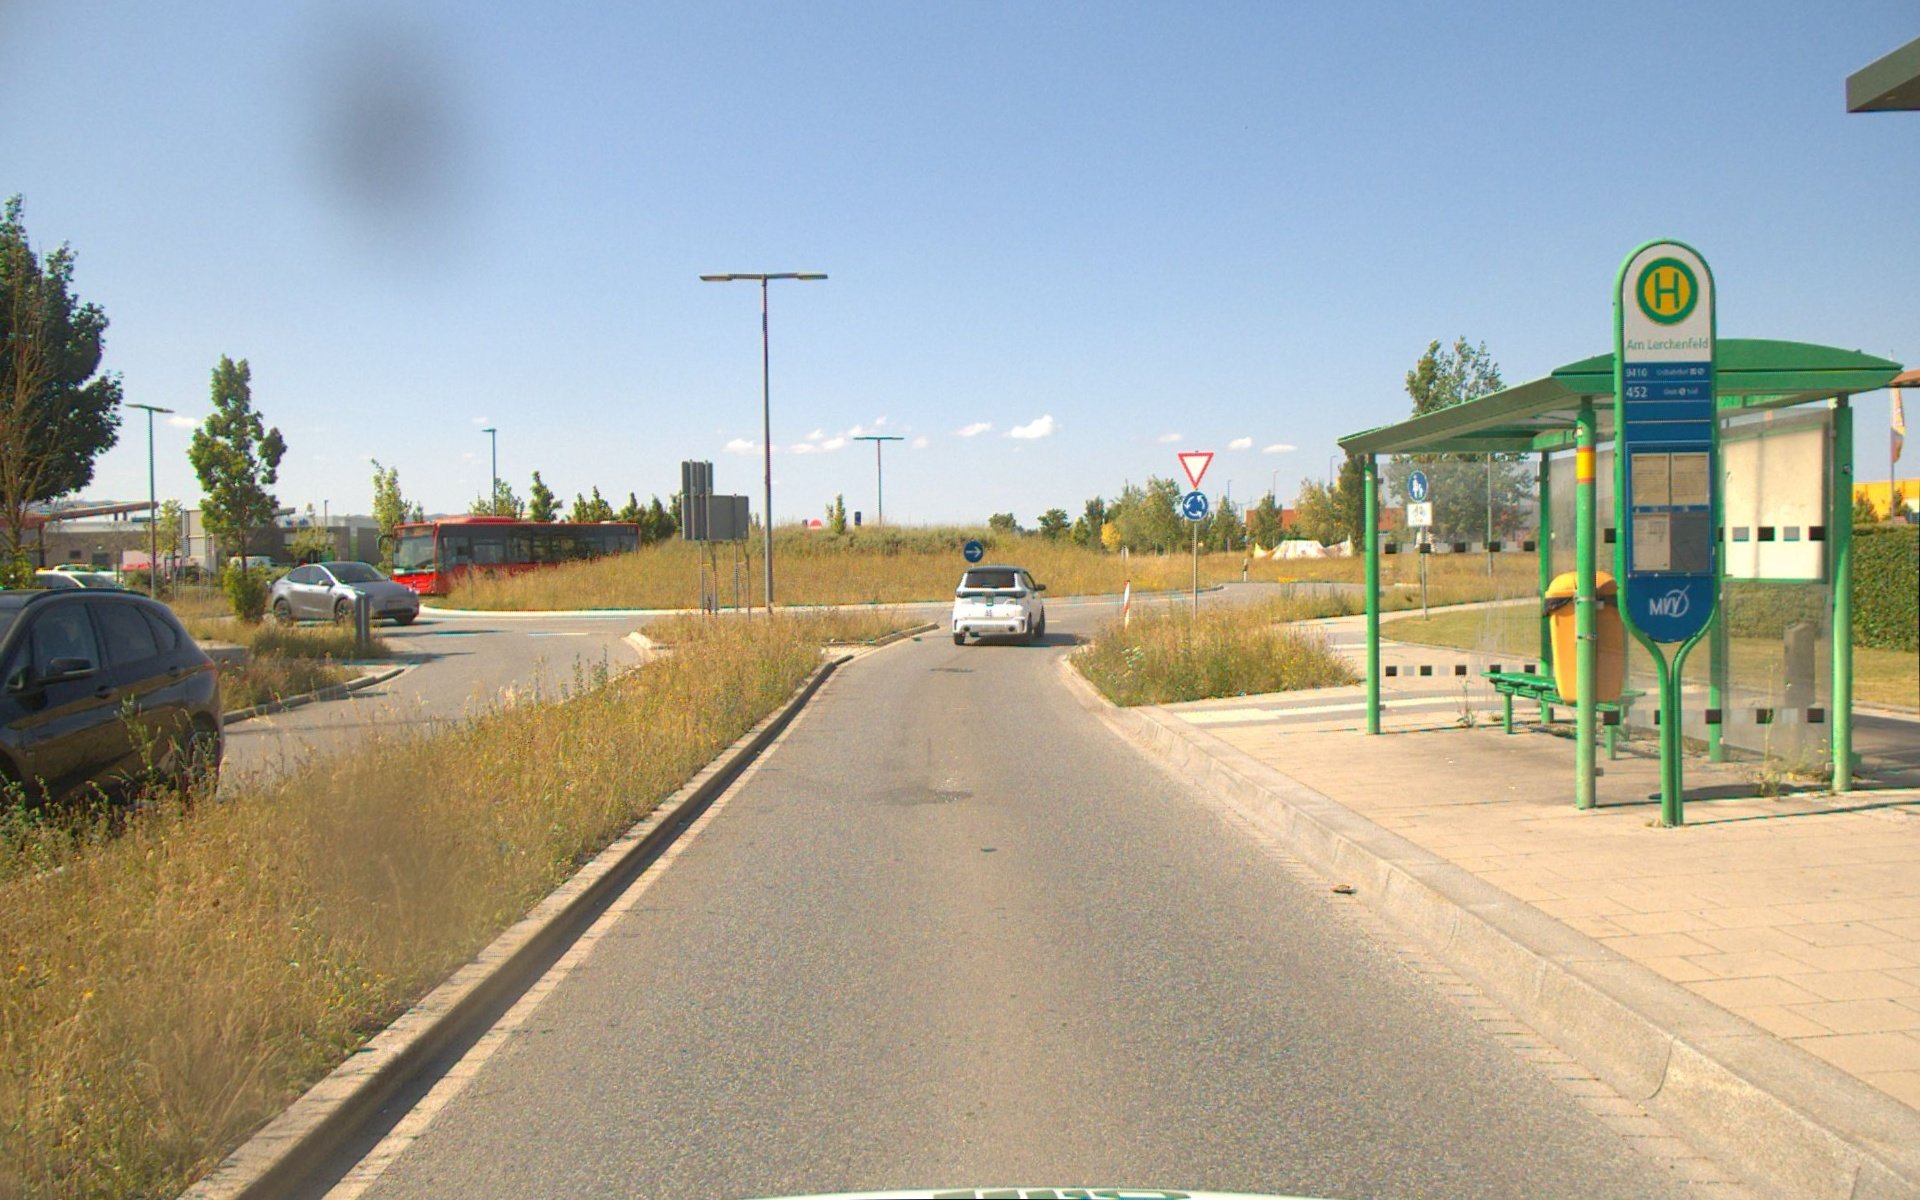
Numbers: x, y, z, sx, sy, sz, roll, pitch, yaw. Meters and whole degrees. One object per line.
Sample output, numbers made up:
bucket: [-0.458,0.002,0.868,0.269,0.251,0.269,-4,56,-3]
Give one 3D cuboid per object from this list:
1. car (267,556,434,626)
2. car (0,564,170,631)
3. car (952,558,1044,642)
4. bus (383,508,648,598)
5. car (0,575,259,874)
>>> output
car: [-15.823,-0.283,42.847,4.535,1.654,1.955,1,3,38]
car: [-26.025,-0.081,48.926,4.477,1.694,1.849,-2,2,11]
car: [0.816,-0.039,33.061,1.582,1.459,3.796,-1,3,5]
bus: [-17.452,-2.014,66.431,2.733,3.132,12.193,-1,3,27]
car: [-5.981,0.687,9.937,1.723,1.570,4.240,-3,1,-1]
